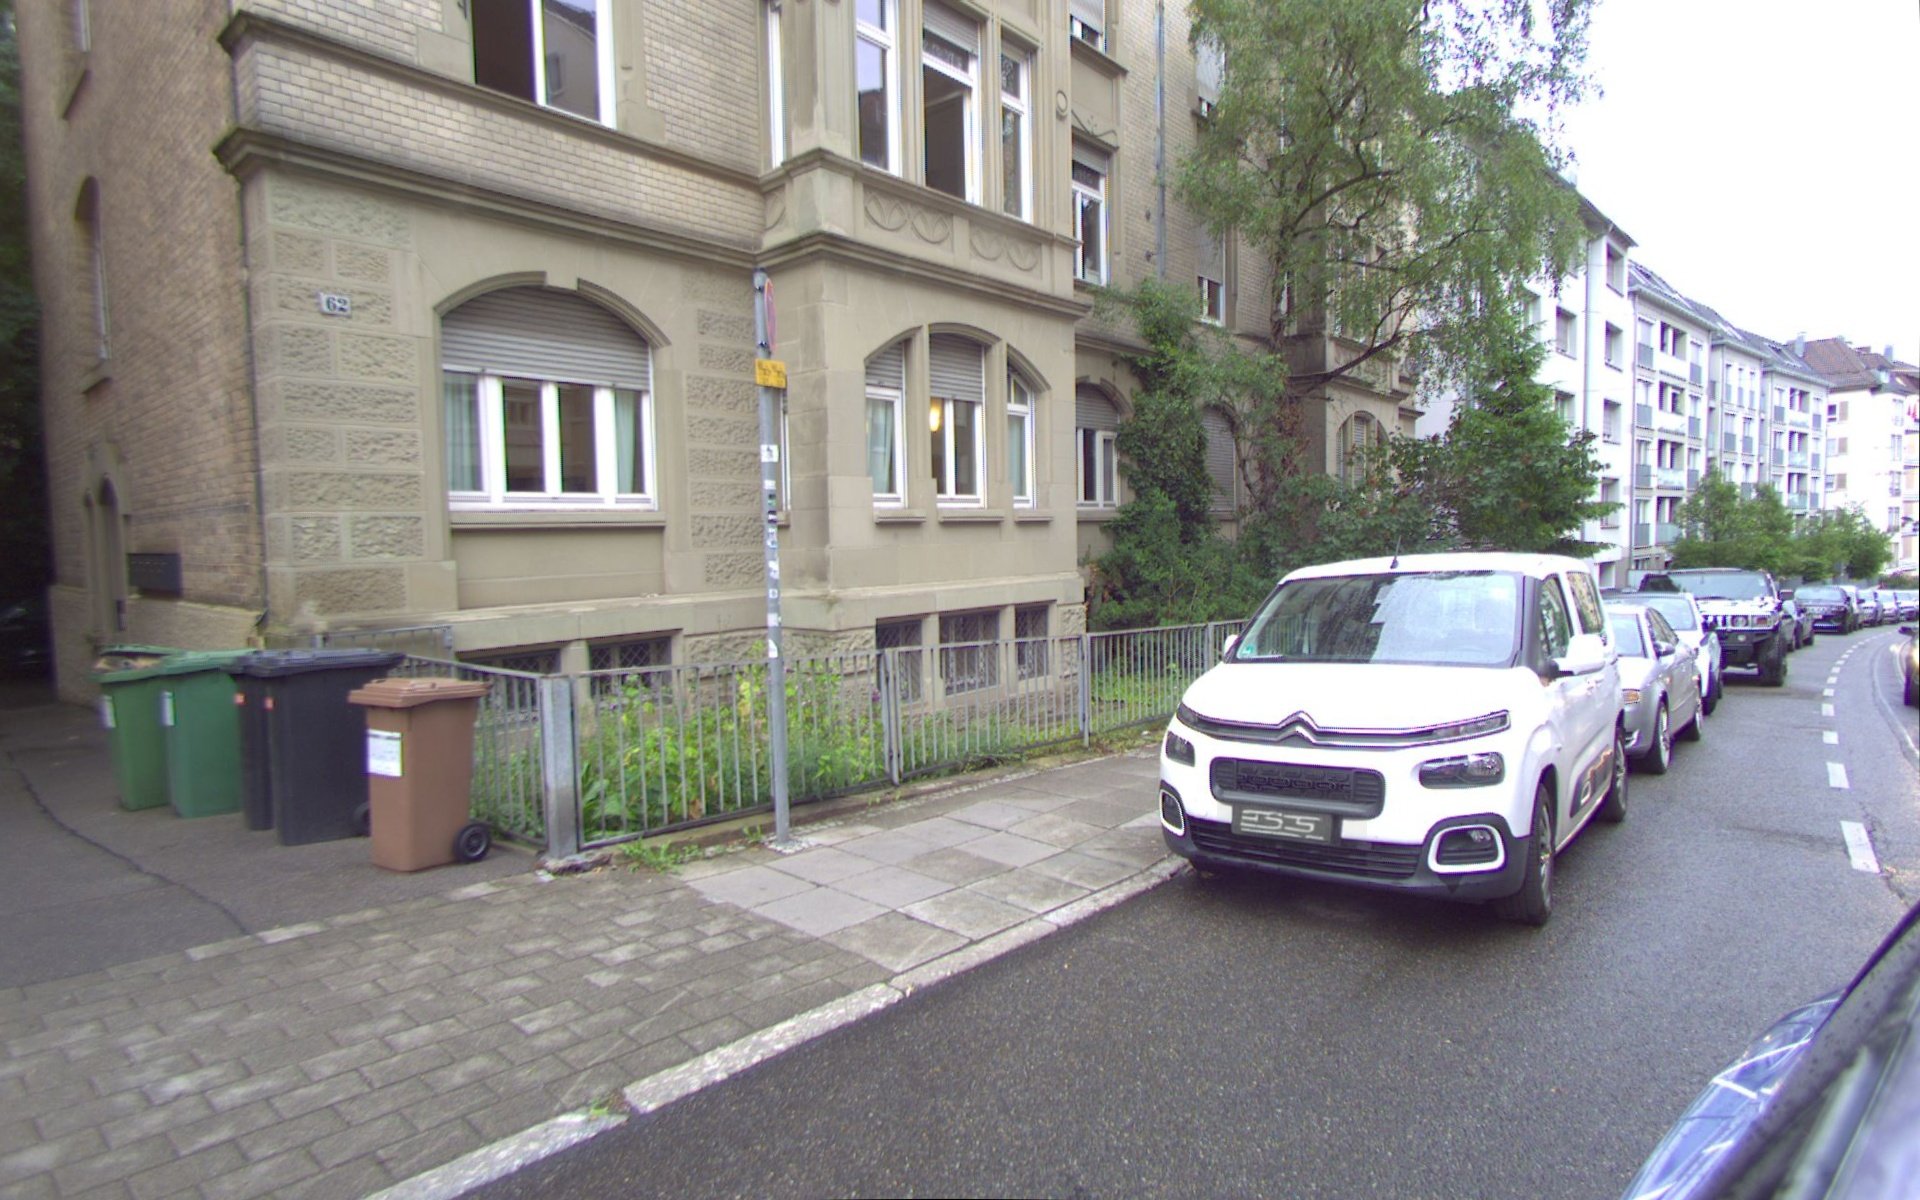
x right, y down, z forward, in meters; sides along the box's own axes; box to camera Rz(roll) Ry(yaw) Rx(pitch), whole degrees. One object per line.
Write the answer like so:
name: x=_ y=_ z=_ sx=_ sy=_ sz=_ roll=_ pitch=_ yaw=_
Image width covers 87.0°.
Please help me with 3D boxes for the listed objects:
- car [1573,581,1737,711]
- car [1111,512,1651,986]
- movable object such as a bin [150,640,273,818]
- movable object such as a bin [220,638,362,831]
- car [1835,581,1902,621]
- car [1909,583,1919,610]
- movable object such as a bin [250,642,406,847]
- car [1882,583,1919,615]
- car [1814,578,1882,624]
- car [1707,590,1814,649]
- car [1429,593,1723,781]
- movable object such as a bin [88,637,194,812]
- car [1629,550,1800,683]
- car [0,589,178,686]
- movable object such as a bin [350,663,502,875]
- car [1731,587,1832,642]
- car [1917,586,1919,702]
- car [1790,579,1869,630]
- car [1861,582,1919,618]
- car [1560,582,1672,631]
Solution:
car: x=9.683 y=0.535 z=14.004 sx=1.557 sy=1.565 sz=3.533 roll=-1 pitch=0 yaw=40
car: x=2.836 y=0.543 z=6.107 sx=1.795 sy=1.787 sz=4.399 roll=-1 pitch=0 yaw=40
movable object such as a bin: x=-4.928 y=0.817 z=6.669 sx=0.495 sy=1.075 sz=0.547 roll=-3 pitch=-1 yaw=41
movable object such as a bin: x=-4.078 y=0.785 z=6.174 sx=0.498 sy=1.075 sz=0.600 roll=-3 pitch=-1 yaw=41
car: x=41.376 y=0.010 z=46.060 sx=4.608 sy=1.676 sz=1.834 roll=-1 pitch=2 yaw=-43
car: x=57.149 y=-0.219 z=59.177 sx=4.704 sy=1.534 sz=1.862 roll=-1 pitch=2 yaw=-40
movable object such as a bin: x=-3.600 y=0.781 z=5.771 sx=0.653 sy=1.043 sz=0.528 roll=-1 pitch=-1 yaw=-43
car: x=49.798 y=-0.070 z=53.101 sx=1.975 sy=1.604 sz=4.495 roll=2 pitch=2 yaw=43
car: x=37.050 y=-0.004 z=42.168 sx=4.398 sy=1.817 sz=1.780 roll=-1 pitch=2 yaw=-44
car: x=20.404 y=0.440 z=25.750 sx=3.819 sy=1.355 sz=1.679 roll=-1 pitch=1 yaw=-44
car: x=6.274 y=0.667 z=10.054 sx=1.747 sy=1.418 sz=4.411 roll=-1 pitch=0 yaw=41
movable object such as a bin: x=-5.606 y=0.824 z=6.926 sx=0.518 sy=1.116 sz=0.471 roll=-3 pitch=-1 yaw=42
car: x=13.746 y=0.232 z=18.296 sx=2.126 sy=2.039 sz=5.272 roll=-1 pitch=0 yaw=40
car: x=-17.199 y=0.661 z=18.814 sx=3.933 sy=1.529 sz=1.796 roll=7 pitch=-1 yaw=-45
movable object such as a bin: x=-2.677 y=0.813 z=5.085 sx=0.425 sy=0.931 sz=0.529 roll=3 pitch=2 yaw=38
car: x=23.661 y=0.356 z=29.089 sx=4.535 sy=1.455 sz=1.795 roll=-1 pitch=1 yaw=-45
car: x=14.234 y=0.571 z=13.723 sx=1.736 sy=1.472 sz=3.936 roll=2 pitch=2 yaw=45
car: x=32.937 y=0.113 z=38.291 sx=1.943 sy=1.817 sz=4.743 roll=1 pitch=2 yaw=45
car: x=45.600 y=-0.022 z=49.575 sx=4.587 sy=1.648 sz=1.834 roll=-1 pitch=2 yaw=-44
car: x=20.782 y=0.176 z=32.024 sx=4.079 sy=1.444 sz=1.816 roll=0 pitch=0 yaw=-39
